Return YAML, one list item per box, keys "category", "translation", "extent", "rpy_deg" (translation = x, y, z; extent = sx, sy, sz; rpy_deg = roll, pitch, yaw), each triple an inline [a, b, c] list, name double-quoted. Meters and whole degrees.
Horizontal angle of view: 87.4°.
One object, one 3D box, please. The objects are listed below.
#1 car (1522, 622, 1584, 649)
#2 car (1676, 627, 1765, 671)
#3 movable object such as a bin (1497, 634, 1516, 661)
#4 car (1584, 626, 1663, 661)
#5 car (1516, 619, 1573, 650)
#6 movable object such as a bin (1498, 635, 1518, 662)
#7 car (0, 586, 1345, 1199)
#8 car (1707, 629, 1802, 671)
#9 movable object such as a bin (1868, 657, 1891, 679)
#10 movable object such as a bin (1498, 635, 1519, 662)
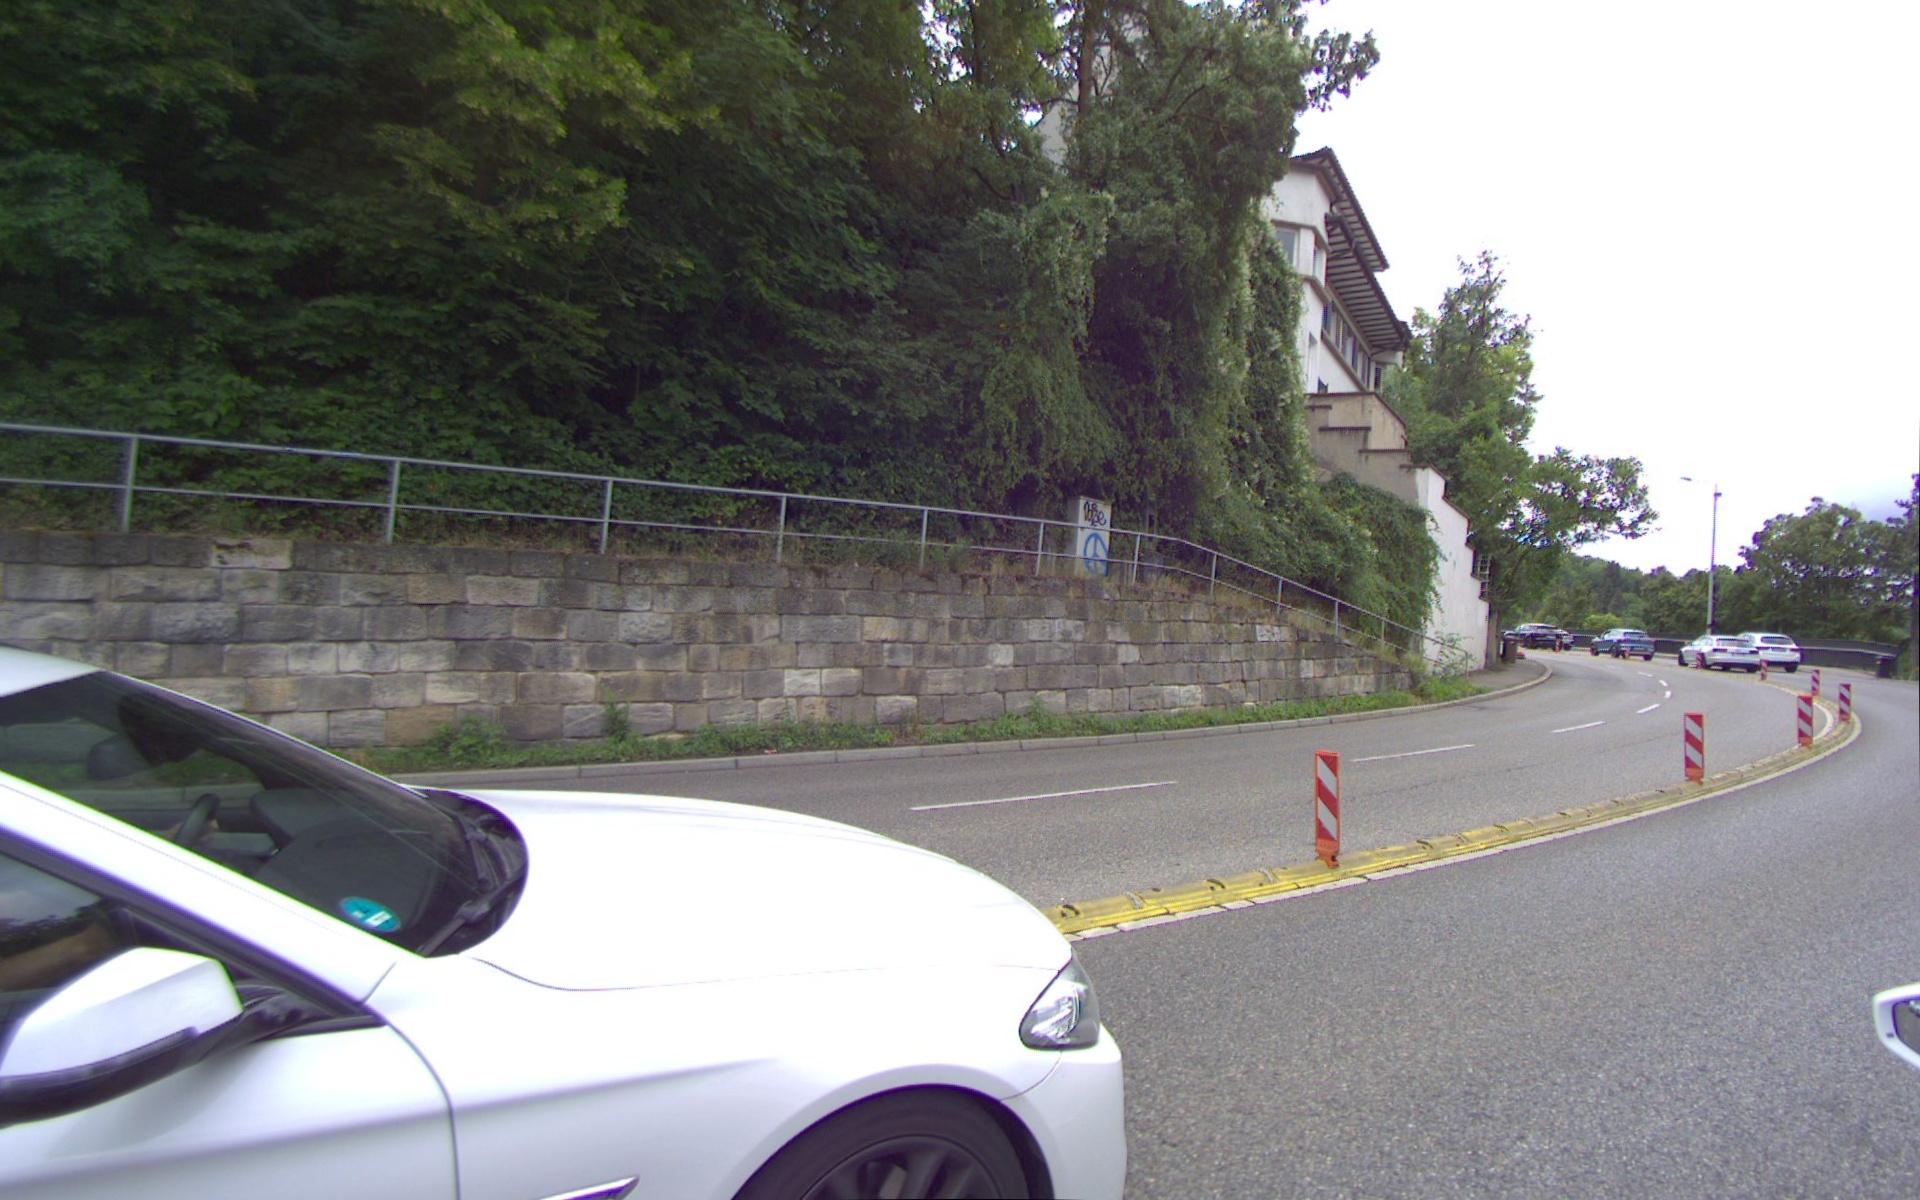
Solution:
- category: "car"
  translation: [40.432, 2.384, 68.544]
  extent: [1.670, 1.545, 3.528]
  rpy_deg: [4, 1, -11]
- category: "car"
  translation: [32.217, 2.020, 42.678]
  extent: [1.875, 1.595, 3.999]
  rpy_deg: [4, 1, 21]
- category: "movable object such as a bin"
  translation: [20.858, 1.821, 38.346]
  extent: [0.534, 0.961, 0.566]
  rpy_deg: [4, 1, 27]
- category: "car"
  translation: [35.623, 2.292, 54.040]
  extent: [1.960, 1.561, 4.012]
  rpy_deg: [4, 1, 9]
- category: "car"
  translation: [37.595, 2.174, 64.681]
  extent: [1.785, 1.712, 4.002]
  rpy_deg: [4, 1, 10]
- category: "movable object such as a bin"
  translation: [20.552, 1.825, 37.680]
  extent: [0.597, 0.961, 0.580]
  rpy_deg: [4, 1, 27]
- category: "car"
  translation: [-1.745, 0.763, 1.740]
  extent: [4.823, 1.486, 1.838]
  rpy_deg: [4, 1, -31]
- category: "car"
  translation: [35.850, 2.204, 45.467]
  extent: [1.960, 1.607, 4.001]
  rpy_deg: [4, 1, 17]
- category: "movable object such as a bin"
  translation: [39.904, 2.947, 43.587]
  extent: [0.511, 0.892, 0.532]
  rpy_deg: [4, 1, 17]
- category: "movable object such as a bin"
  translation: [20.303, 1.787, 37.169]
  extent: [0.597, 0.961, 0.555]
  rpy_deg: [4, 1, 27]
